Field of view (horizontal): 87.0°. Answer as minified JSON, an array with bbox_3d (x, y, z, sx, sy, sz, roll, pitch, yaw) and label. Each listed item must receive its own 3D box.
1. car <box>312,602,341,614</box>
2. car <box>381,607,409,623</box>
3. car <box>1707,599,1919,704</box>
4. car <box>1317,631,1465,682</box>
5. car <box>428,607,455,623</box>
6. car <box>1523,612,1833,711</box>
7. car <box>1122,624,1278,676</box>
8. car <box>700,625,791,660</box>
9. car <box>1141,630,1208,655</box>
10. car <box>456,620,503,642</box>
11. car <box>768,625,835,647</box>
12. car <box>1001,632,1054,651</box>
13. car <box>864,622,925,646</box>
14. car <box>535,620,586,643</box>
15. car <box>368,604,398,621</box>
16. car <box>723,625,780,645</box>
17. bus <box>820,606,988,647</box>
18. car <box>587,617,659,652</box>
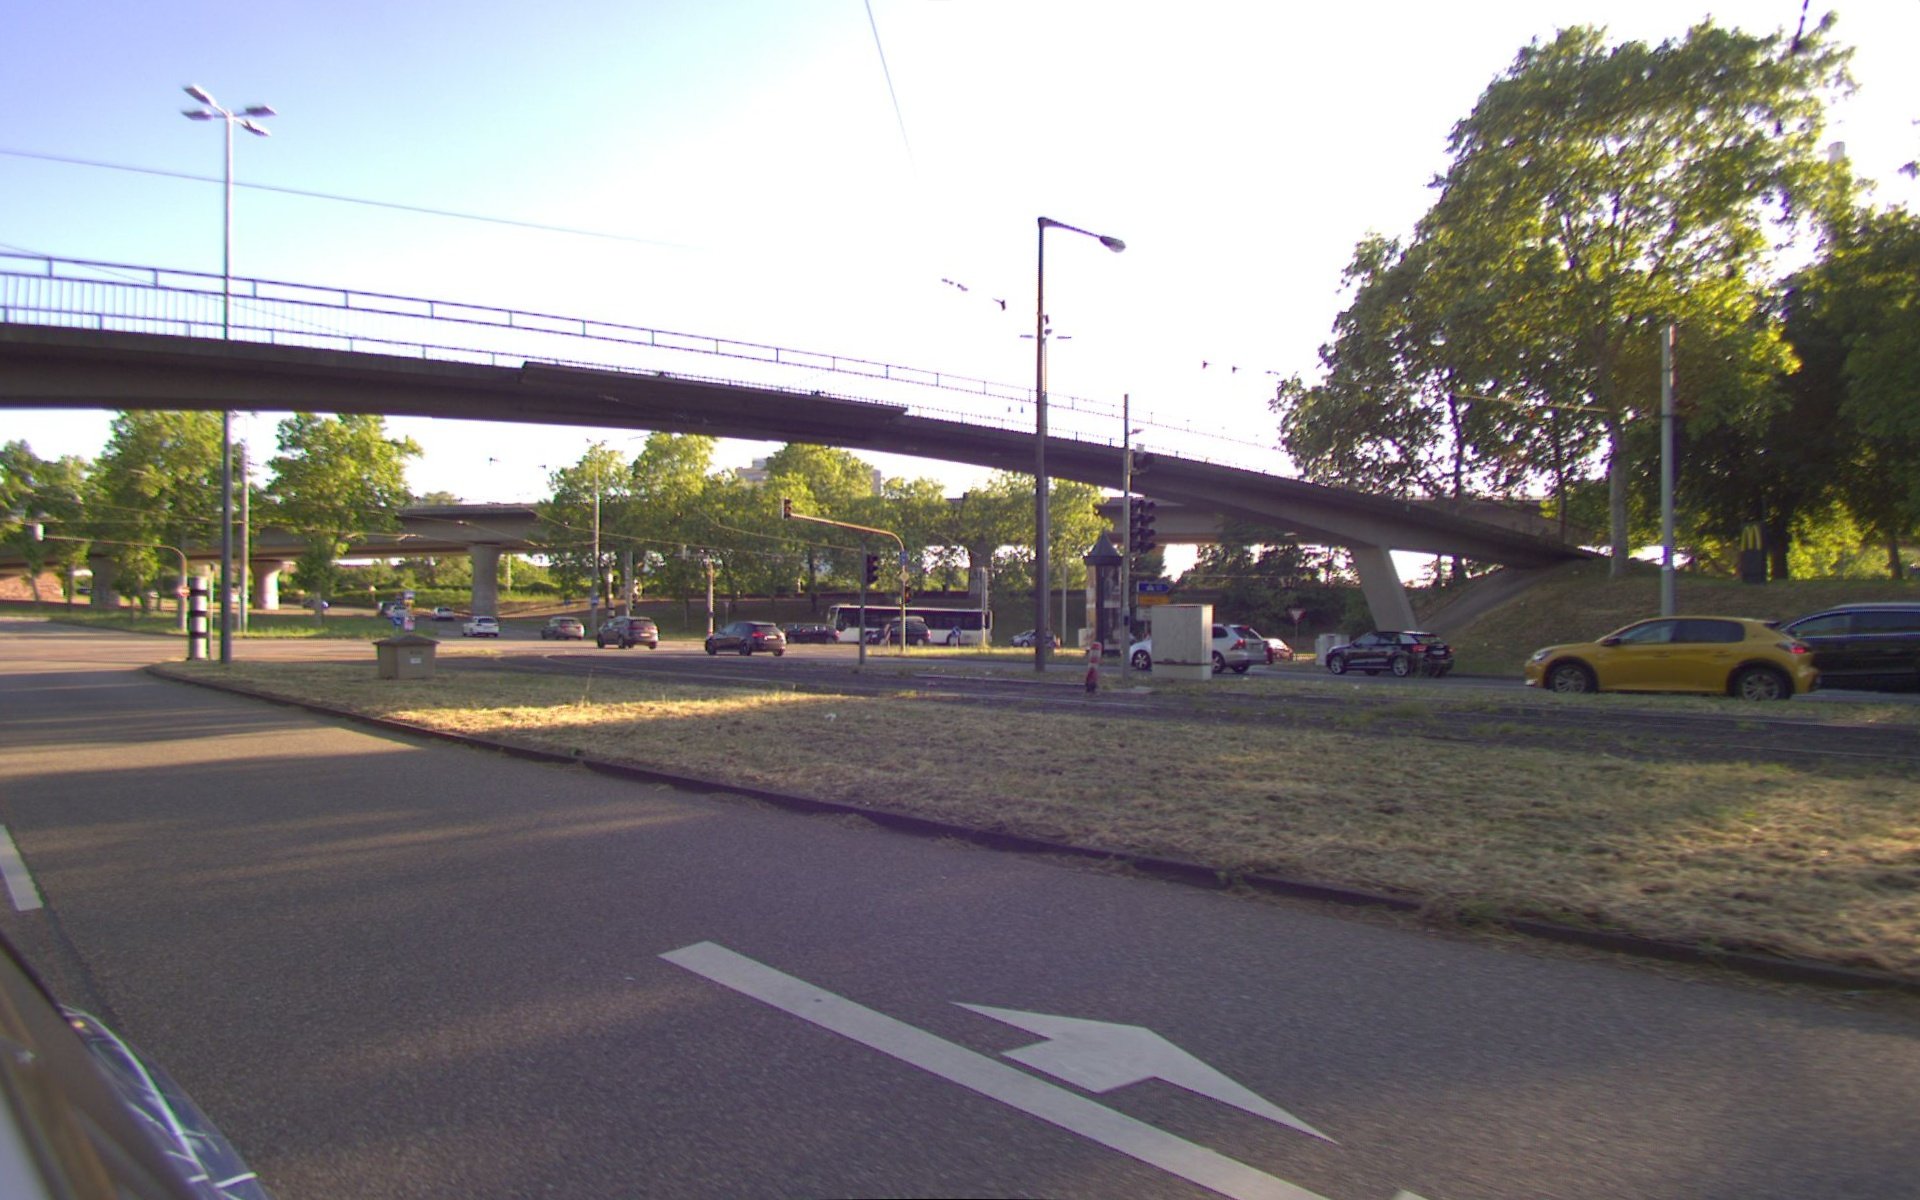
[{"bbox_3d":[-87.787,1.094,140.160,3.925,1.570,1.977,0,-1,35],"label":"car"},{"bbox_3d":[-59.919,1.561,107.256,1.827,1.621,4.316,1,-1,-39],"label":"car"},{"bbox_3d":[15.599,0.830,17.267,4.435,1.667,1.819,-1,0,42],"label":"car"},{"bbox_3d":[13.897,1.770,32.845,1.663,1.426,4.204,0,0,-33],"label":"car"},{"bbox_3d":[-54.833,1.559,107.036,1.826,1.621,4.380,1,-1,-37],"label":"car"},{"bbox_3d":[11.795,0.922,16.770,4.018,1.426,1.818,-1,-1,42],"label":"car"},{"bbox_3d":[7.331,1.498,31.240,4.438,1.426,1.668,-1,0,43],"label":"car"},{"bbox_3d":[-8.978,1.736,42.182,1.667,1.320,4.312,0,-1,-44],"label":"car"},{"bbox_3d":[18.199,3.564,85.897,5.331,2.029,2.006,0,-1,-20],"label":"car"},{"bbox_3d":[-34.213,2.165,71.937,1.980,1.454,4.870,0,-1,-39],"label":"car"},{"bbox_3d":[-10.526,2.373,67.257,4.024,1.364,1.722,1,-1,-25],"label":"car"},{"bbox_3d":[5.446,3.301,81.535,3.930,1.453,1.711,1,-1,-25],"label":"car"},{"bbox_3d":[-4.720,2.420,72.777,4.024,1.665,1.722,1,-1,-25],"label":"car"},{"bbox_3d":[-27.129,2.104,68.658,1.980,1.454,4.261,0,-1,-39],"label":"car"},{"bbox_3d":[-66.907,1.429,117.375,4.146,1.881,1.831,0,-1,43],"label":"car"},{"bbox_3d":[-14.892,2.511,72.440,3.670,1.364,1.615,1,-1,-27],"label":"car"},{"bbox_3d":[-4.162,2.026,77.245,12.629,2.977,2.841,1,-1,-24],"label":"bus"},{"bbox_3d":[-17.288,1.743,51.810,4.359,1.663,1.770,-1,-1,45],"label":"car"}]
